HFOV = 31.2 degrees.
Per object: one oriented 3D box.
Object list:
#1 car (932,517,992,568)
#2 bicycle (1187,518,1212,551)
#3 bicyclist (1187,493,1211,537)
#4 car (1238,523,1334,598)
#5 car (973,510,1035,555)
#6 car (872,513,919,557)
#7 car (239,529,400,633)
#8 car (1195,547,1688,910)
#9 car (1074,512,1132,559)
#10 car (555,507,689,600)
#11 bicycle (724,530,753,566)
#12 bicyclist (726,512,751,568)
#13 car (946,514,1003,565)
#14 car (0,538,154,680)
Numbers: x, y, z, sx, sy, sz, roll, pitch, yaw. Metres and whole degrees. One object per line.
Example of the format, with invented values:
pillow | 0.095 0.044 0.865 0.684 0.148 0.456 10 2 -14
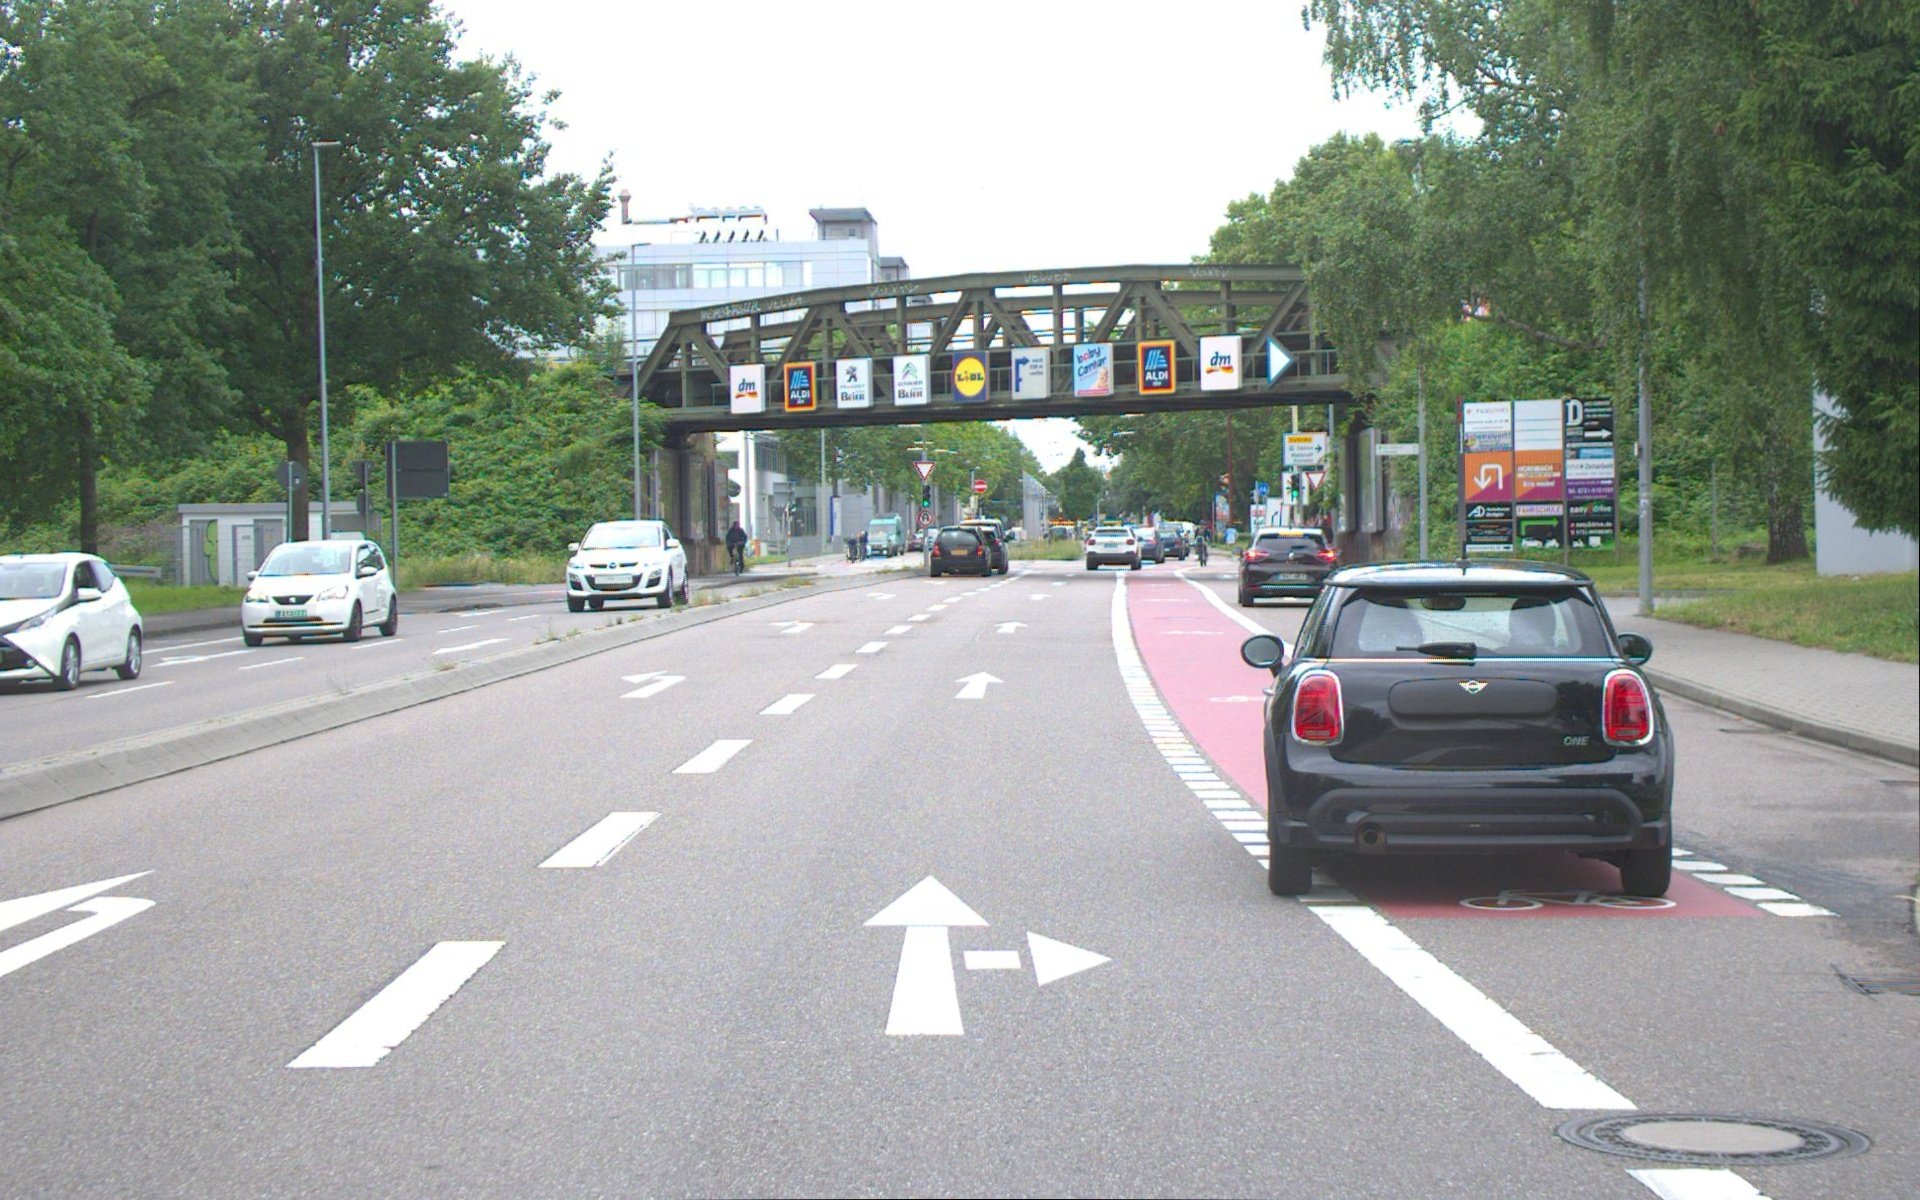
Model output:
car | 0.043 -1.762 104.772 1.768 1.522 3.670 0 1 -1
bicycle | 8.968 -2.454 128.844 0.816 1.208 2.683 -1 1 2
bicyclist | 8.949 -3.172 128.832 0.816 1.624 1.235 -1 1 2
car | 5.807 -0.728 61.193 1.647 1.276 3.419 0 1 5
car | 1.498 -2.350 119.252 1.962 1.522 5.011 0 1 -1
car | -4.153 -4.195 222.819 2.329 2.816 5.948 -1 1 6
car | -9.312 -0.308 50.195 1.676 1.423 3.651 -1 1 -1
car | 2.075 0.492 15.780 1.679 1.426 3.774 0 1 -1
car | 4.991 -2.268 120.328 1.823 1.595 3.776 0 1 -1
car | -6.222 -0.895 63.726 1.818 1.581 4.513 -3 1 2
bicycle | -7.581 -1.771 117.552 0.713 1.183 2.370 1 1 3
bicyclist | -7.576 -2.047 117.519 0.702 1.868 1.020 1 0 3
car | 0.445 -1.973 111.475 1.772 1.647 3.670 0 1 -1
car | -10.008 0.081 37.078 1.624 1.418 3.611 -2 1 2
